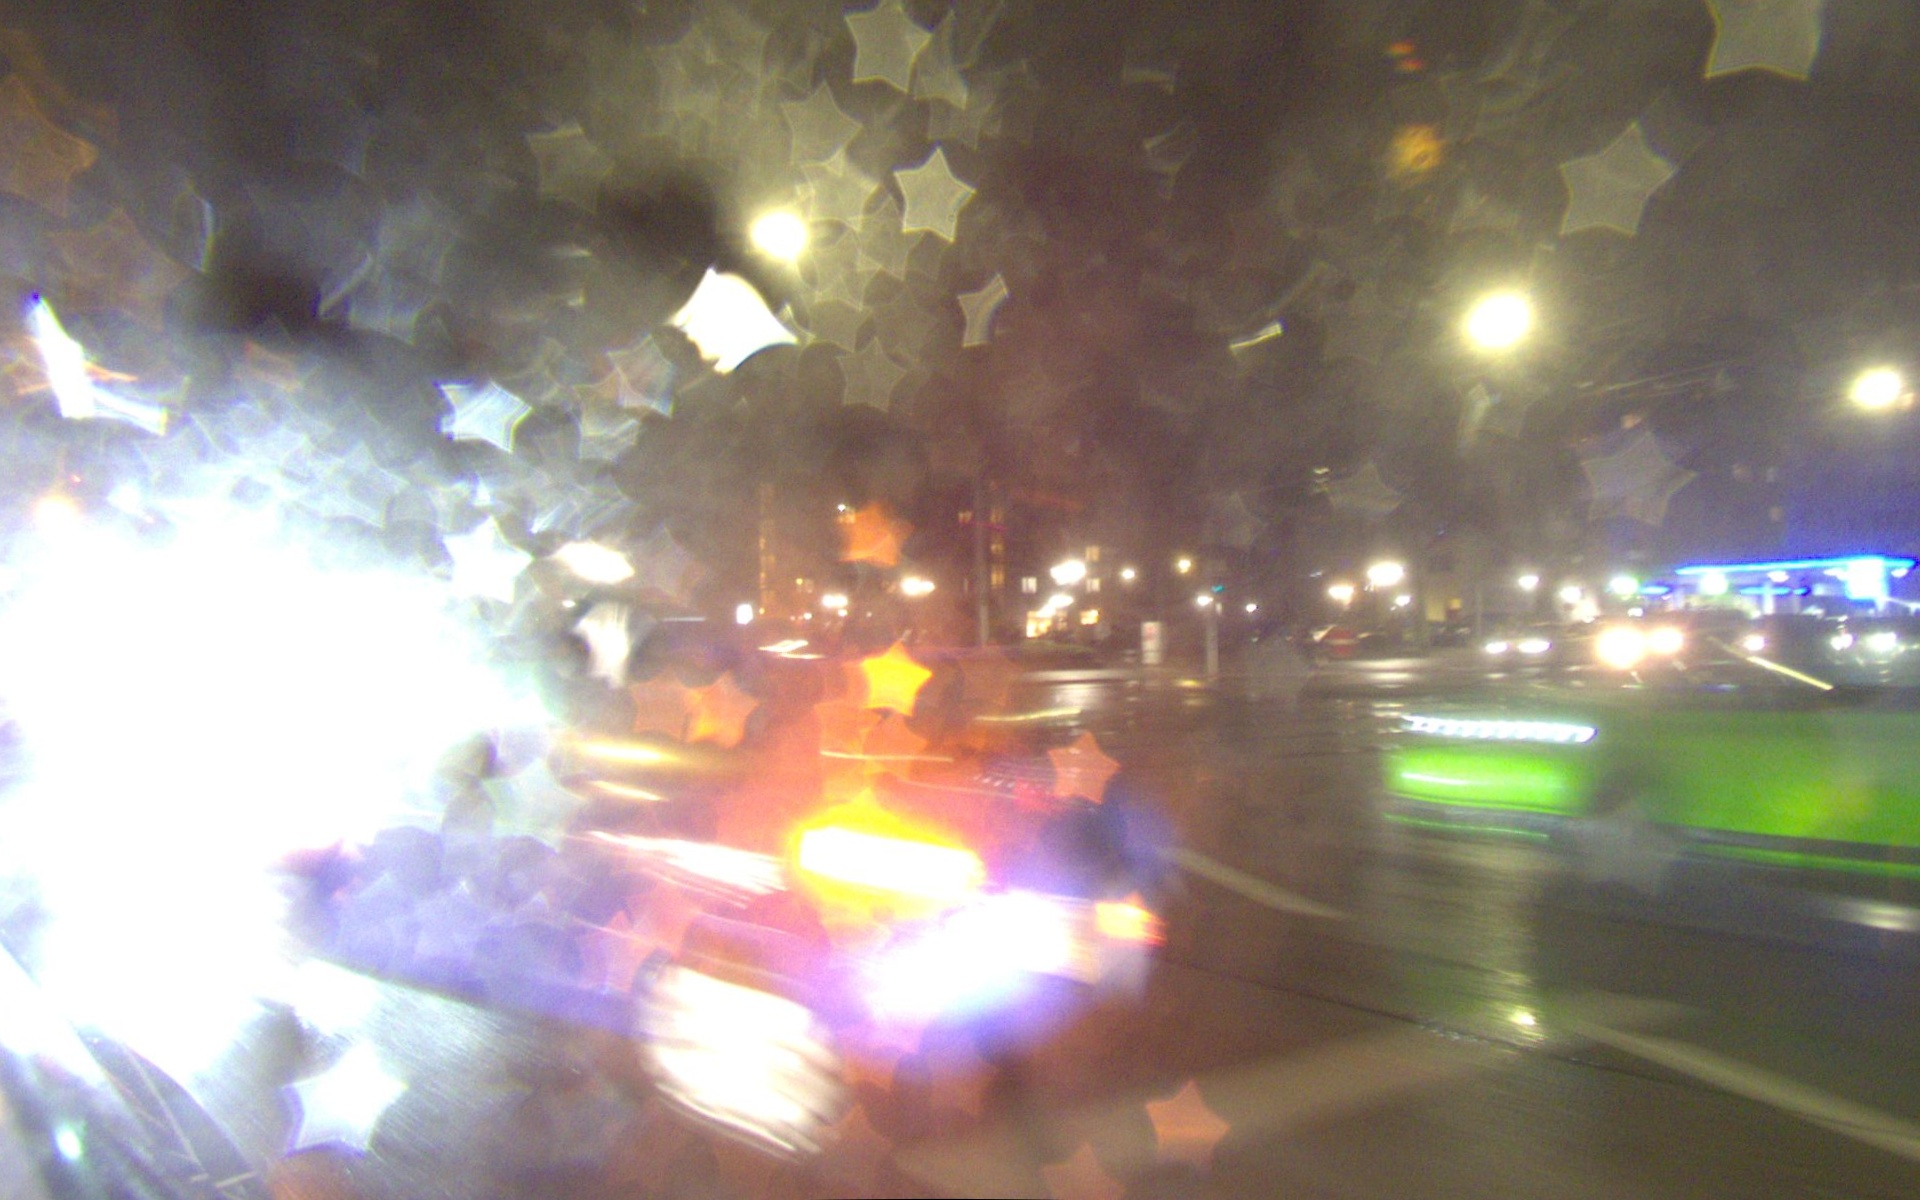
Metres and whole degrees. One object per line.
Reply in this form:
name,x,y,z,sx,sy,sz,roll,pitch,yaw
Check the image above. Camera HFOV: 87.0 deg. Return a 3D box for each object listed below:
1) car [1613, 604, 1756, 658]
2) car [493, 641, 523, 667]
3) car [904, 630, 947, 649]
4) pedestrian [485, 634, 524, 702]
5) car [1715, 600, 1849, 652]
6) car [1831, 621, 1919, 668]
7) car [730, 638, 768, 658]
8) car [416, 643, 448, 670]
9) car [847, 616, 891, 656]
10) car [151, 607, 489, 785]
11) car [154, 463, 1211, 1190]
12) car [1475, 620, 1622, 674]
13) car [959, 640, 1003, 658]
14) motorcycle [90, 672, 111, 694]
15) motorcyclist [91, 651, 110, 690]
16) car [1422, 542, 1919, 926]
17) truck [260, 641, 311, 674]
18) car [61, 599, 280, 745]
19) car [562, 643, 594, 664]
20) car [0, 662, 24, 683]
car,24.853,1.054,34.700,4.657,1.756,1.904,0,-3,-26
car,-32.340,3.848,72.402,1.838,1.774,4.508,-1,-2,-26
car,-2.932,3.324,85.043,1.838,1.454,4.508,-1,-2,-26
pedestrian,-12.190,1.809,27.111,0.758,1.749,0.972,-1,-2,-11
car,30.014,0.943,36.935,4.657,1.756,1.904,0,-3,-26
car,36.788,1.718,39.790,4.657,1.756,1.904,0,-3,-23
car,-16.658,3.797,79.695,1.838,1.454,4.508,-1,-2,-26
car,-36.683,3.911,70.374,1.838,1.808,4.508,-1,-2,-26
car,-6.494,2.594,71.997,1.689,2.752,4.369,-1,-2,-25
car,-7.147,0.941,11.084,4.722,1.554,1.799,-3,-3,40
car,-1.245,0.567,3.939,3.974,1.554,1.694,-2,-2,31
car,18.723,1.477,32.181,4.258,1.581,1.904,0,-3,-26
car,1.744,4.158,86.381,1.838,1.454,4.508,-1,-2,-26
motorcycle,-45.508,4.386,53.571,0.693,1.147,2.176,1,-4,-45
motorcyclist,-45.580,3.719,53.665,0.983,2.029,0.685,-4,-4,45
car,4.475,0.524,4.458,4.062,1.498,1.743,-3,-3,45
truck,-44.329,3.808,66.619,2.093,2.029,5.278,-1,-3,-26
car,-12.748,1.142,16.208,5.200,1.968,2.011,-5,-4,43
car,-28.441,3.956,75.258,1.838,1.454,4.508,-1,-2,-26
car,-73.223,5.563,77.924,1.579,1.576,4.383,4,-6,-43
